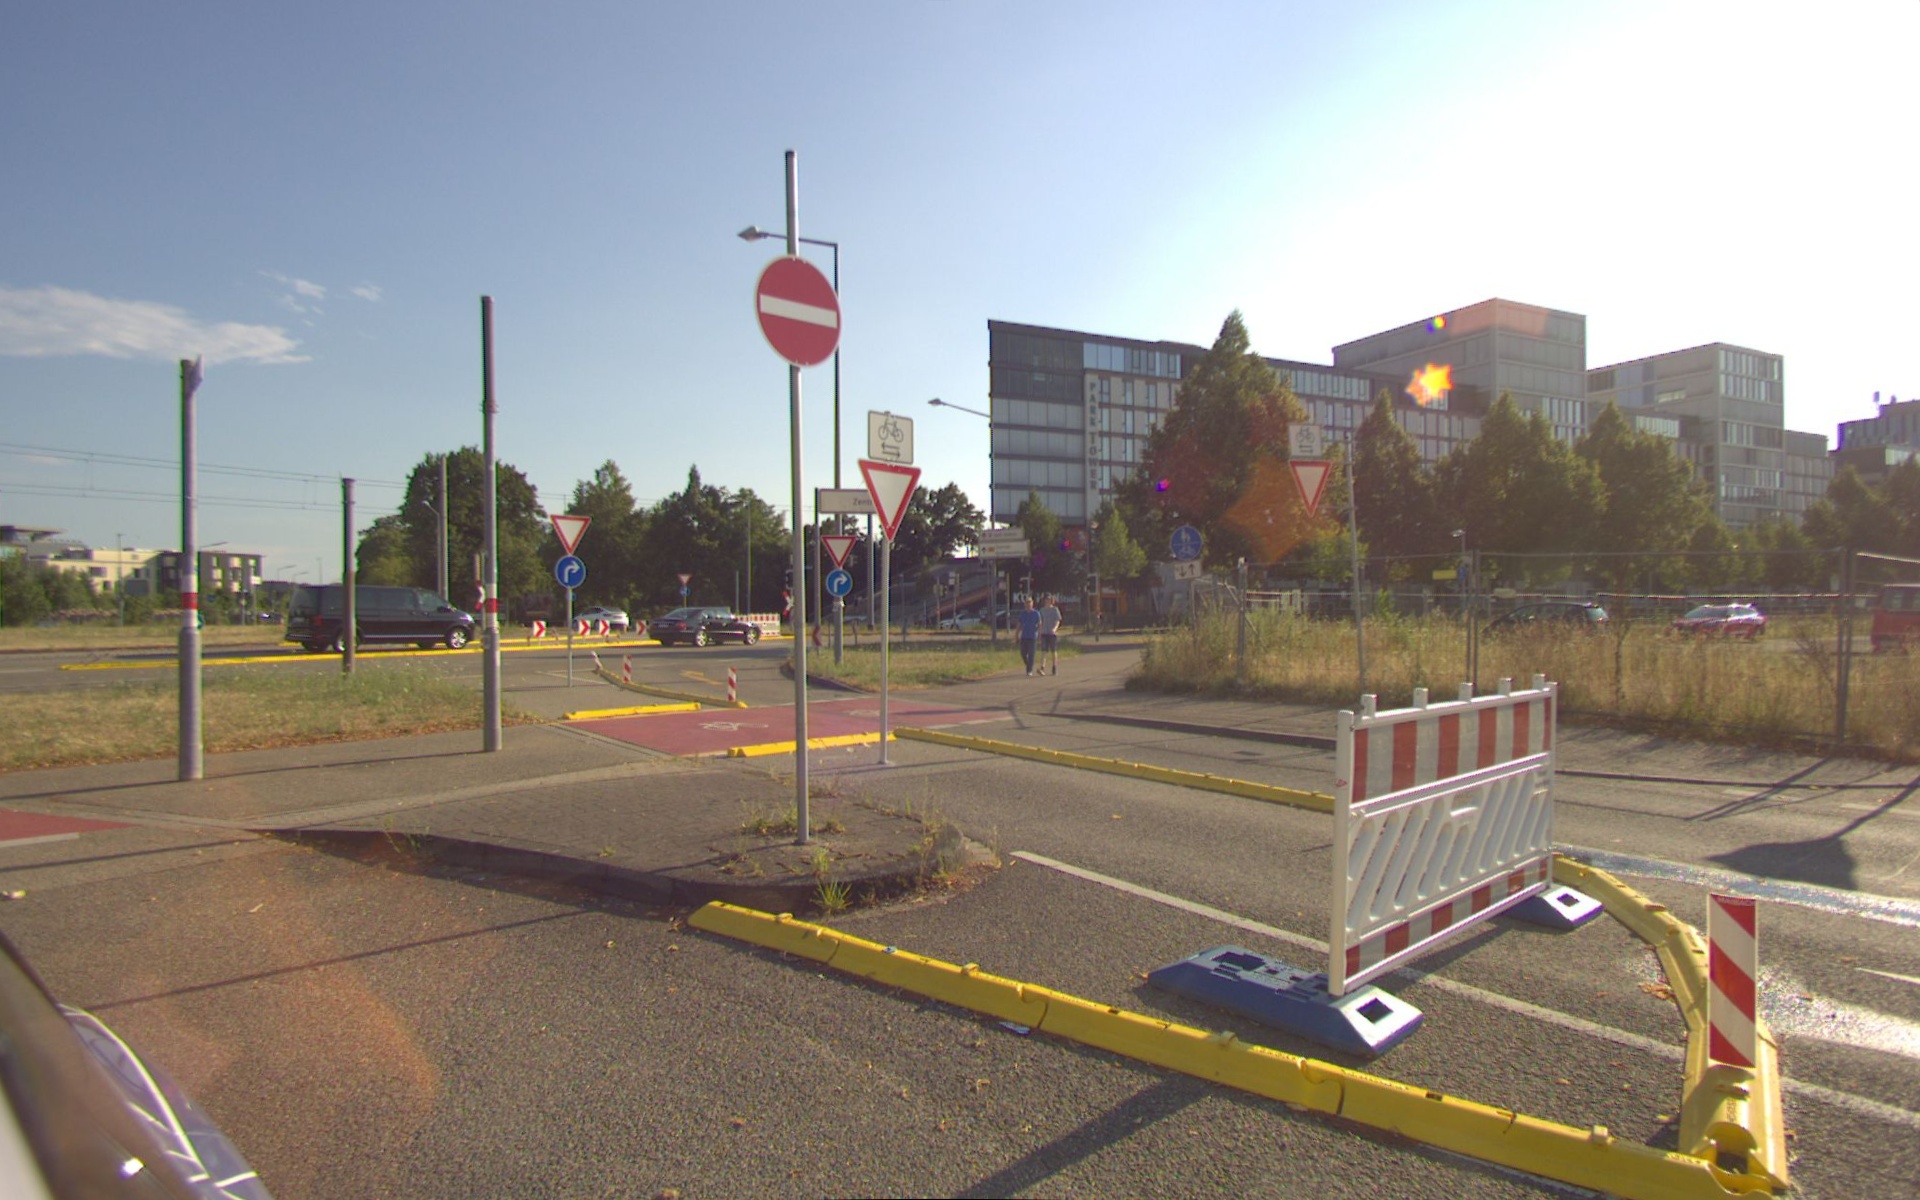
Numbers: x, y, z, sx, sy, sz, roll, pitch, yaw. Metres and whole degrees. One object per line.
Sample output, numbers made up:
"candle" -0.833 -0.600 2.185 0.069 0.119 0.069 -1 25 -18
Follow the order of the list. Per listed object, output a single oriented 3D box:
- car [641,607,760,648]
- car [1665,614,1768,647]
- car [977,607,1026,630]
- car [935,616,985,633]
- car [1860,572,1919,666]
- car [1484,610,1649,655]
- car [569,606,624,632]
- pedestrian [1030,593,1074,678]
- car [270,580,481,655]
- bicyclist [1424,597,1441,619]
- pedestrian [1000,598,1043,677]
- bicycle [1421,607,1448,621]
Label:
"car" -9.553 0.978 37.623 1.832 1.417 4.663 -1 -1 23
"car" 29.290 1.162 39.175 3.867 1.175 1.336 0 0 -21
"car" 3.034 1.354 73.983 3.282 1.586 1.568 0 -1 -15
"car" -0.001 1.833 76.937 3.442 1.249 1.664 0 -1 -23
"car" 23.195 0.391 22.265 5.231 2.029 2.003 0 -1 -5
"car" 19.681 1.020 32.970 1.970 1.373 4.249 0 -1 -43
"car" -23.048 1.178 64.116 1.969 1.586 4.006 0 0 -41
"pedestrian" 1.986 0.758 21.784 0.754 1.789 0.766 -1 -1 20
"car" -17.526 0.478 30.629 2.089 2.063 5.184 -1 0 34
"bicyclist" 31.492 0.528 67.451 0.618 1.420 0.873 0 0 -31
"pedestrian" 1.368 0.816 22.408 0.779 1.722 0.808 -1 -1 18
"bicycle" 31.697 0.950 67.579 1.690 0.936 0.853 0 0 -34
